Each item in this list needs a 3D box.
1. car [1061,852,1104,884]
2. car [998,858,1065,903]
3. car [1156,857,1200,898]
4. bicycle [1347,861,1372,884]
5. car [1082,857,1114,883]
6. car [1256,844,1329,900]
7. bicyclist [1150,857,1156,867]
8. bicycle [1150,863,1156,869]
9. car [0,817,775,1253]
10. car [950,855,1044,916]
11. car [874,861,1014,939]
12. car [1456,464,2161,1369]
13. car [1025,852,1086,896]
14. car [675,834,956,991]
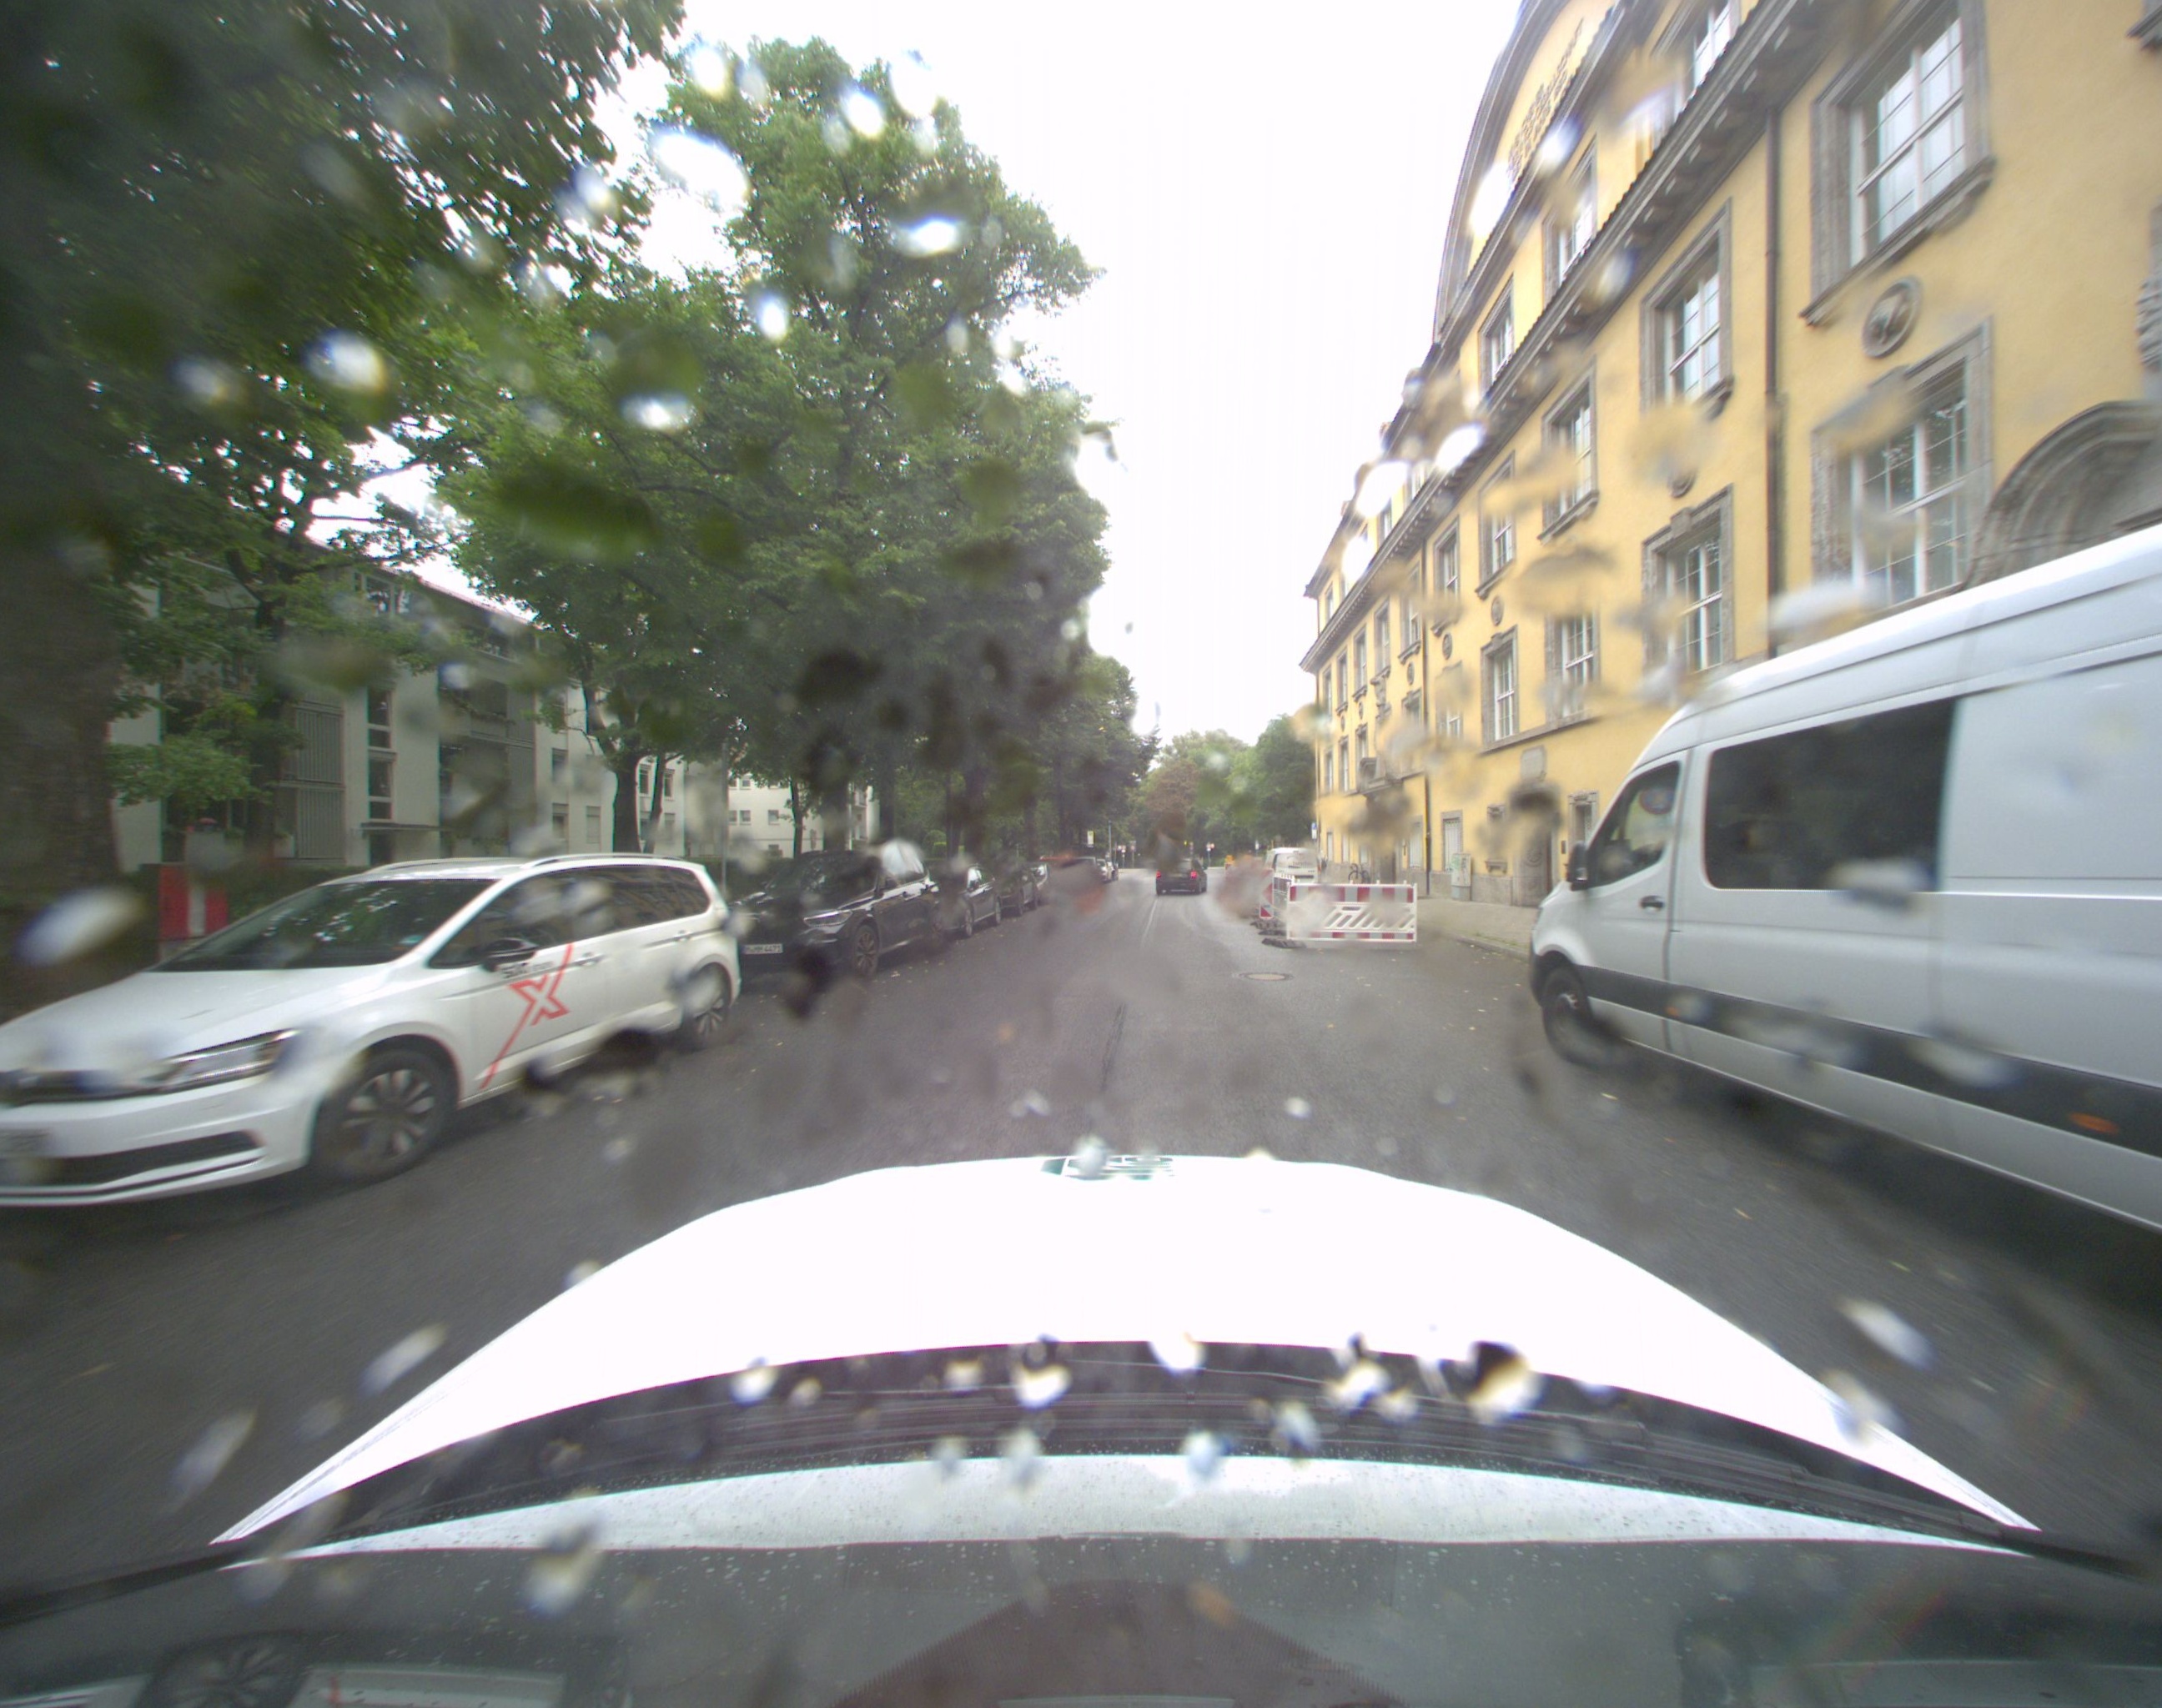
[{"bbox_3d":[0.150,0.749,43.399,1.806,1.601,4.521,-1,-1,6],"label":"car"},{"bbox_3d":[-1.673,0.881,28.892,1.719,1.423,4.257,-1,0,5],"label":"car"},{"bbox_3d":[4.017,0.915,33.252,1.568,1.584,4.054,-1,-1,9],"label":"car"},{"bbox_3d":[12.867,0.841,37.654,0.676,1.006,2.060,-1,-1,6],"label":"bicycle"},{"bbox_3d":[1.074,0.946,48.879,1.569,1.497,4.206,-1,-1,6],"label":"car"},{"bbox_3d":[7.166,0.610,28.020,1.731,1.750,4.361,-1,-1,5],"label":"car"},{"bbox_3d":[10.789,1.220,122.335,0.679,1.504,0.900,-1,-1,-3],"label":"bicyclist"},{"bbox_3d":[10.807,1.762,122.251,0.678,0.830,2.107,0,-1,-3],"label":"bicycle"},{"bbox_3d":[-4.036,0.737,5.385,1.756,1.622,4.532,-3,-1,7],"label":"car"},{"bbox_3d":[-2.277,0.812,23.257,1.777,1.574,4.493,-1,0,5],"label":"car"},{"bbox_3d":[-2.791,0.895,17.703,1.709,1.451,4.704,-1,-1,7],"label":"car"},{"bbox_3d":[4.324,0.196,3.881,2.045,2.673,7.622,-1,-1,4],"label":"car"},{"bbox_3d":[-1.000,0.826,34.551,1.862,1.728,4.650,-1,-1,7],"label":"car"},{"bbox_3d":[-3.516,0.714,12.022,1.983,1.797,4.930,-2,-1,7],"label":"car"}]
